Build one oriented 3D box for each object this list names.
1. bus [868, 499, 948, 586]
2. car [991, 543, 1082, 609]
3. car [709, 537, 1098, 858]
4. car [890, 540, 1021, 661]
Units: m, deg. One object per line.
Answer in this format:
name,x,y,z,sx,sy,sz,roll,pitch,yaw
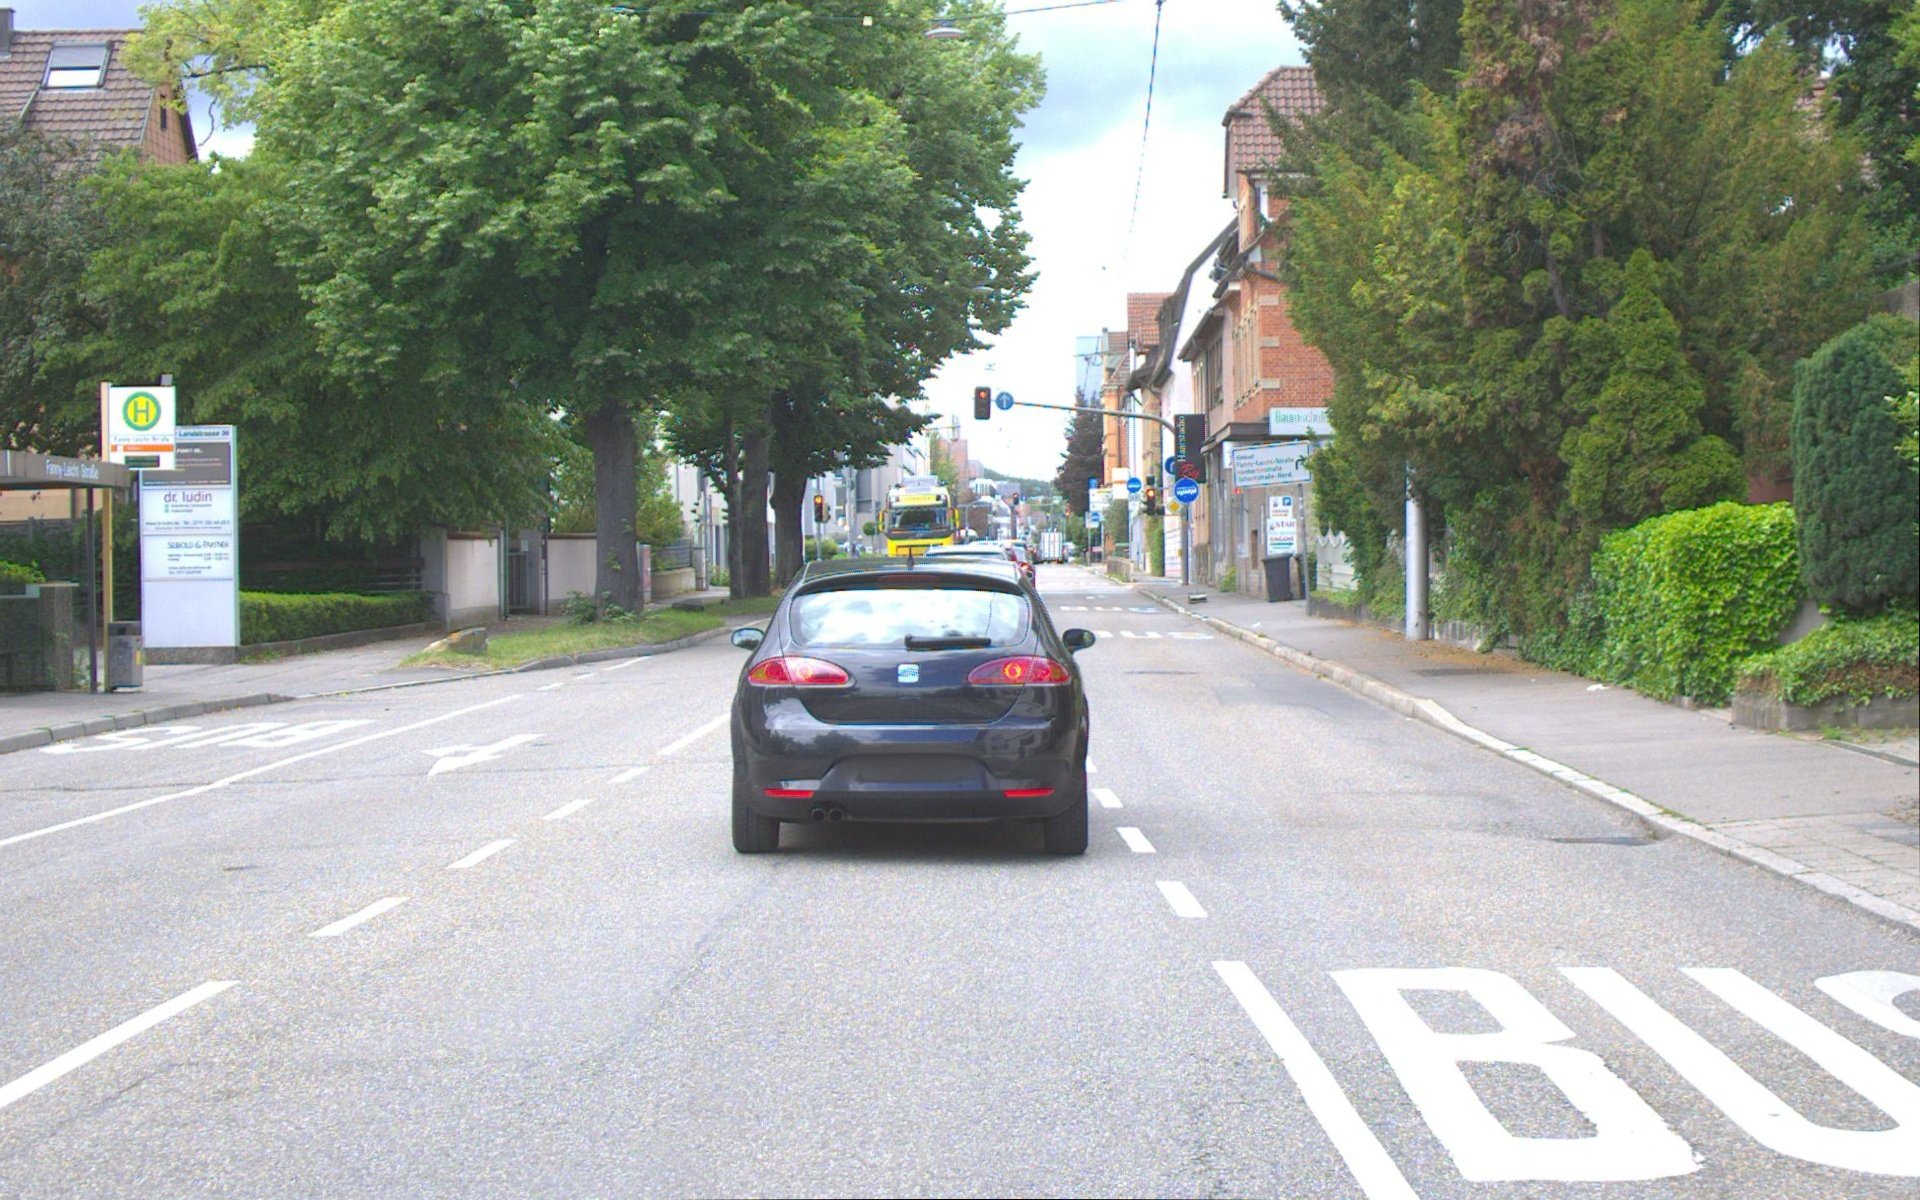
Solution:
bus,-1.921,-2.181,130.123,2.868,3.125,6.398,-1,1,0
car,1.807,-0.596,82.821,1.941,1.476,4.253,-2,1,-2
car,-0.348,0.416,17.616,1.759,1.444,3.715,1,1,-3
car,-0.028,-0.028,52.489,1.819,1.693,4.253,-2,1,2
